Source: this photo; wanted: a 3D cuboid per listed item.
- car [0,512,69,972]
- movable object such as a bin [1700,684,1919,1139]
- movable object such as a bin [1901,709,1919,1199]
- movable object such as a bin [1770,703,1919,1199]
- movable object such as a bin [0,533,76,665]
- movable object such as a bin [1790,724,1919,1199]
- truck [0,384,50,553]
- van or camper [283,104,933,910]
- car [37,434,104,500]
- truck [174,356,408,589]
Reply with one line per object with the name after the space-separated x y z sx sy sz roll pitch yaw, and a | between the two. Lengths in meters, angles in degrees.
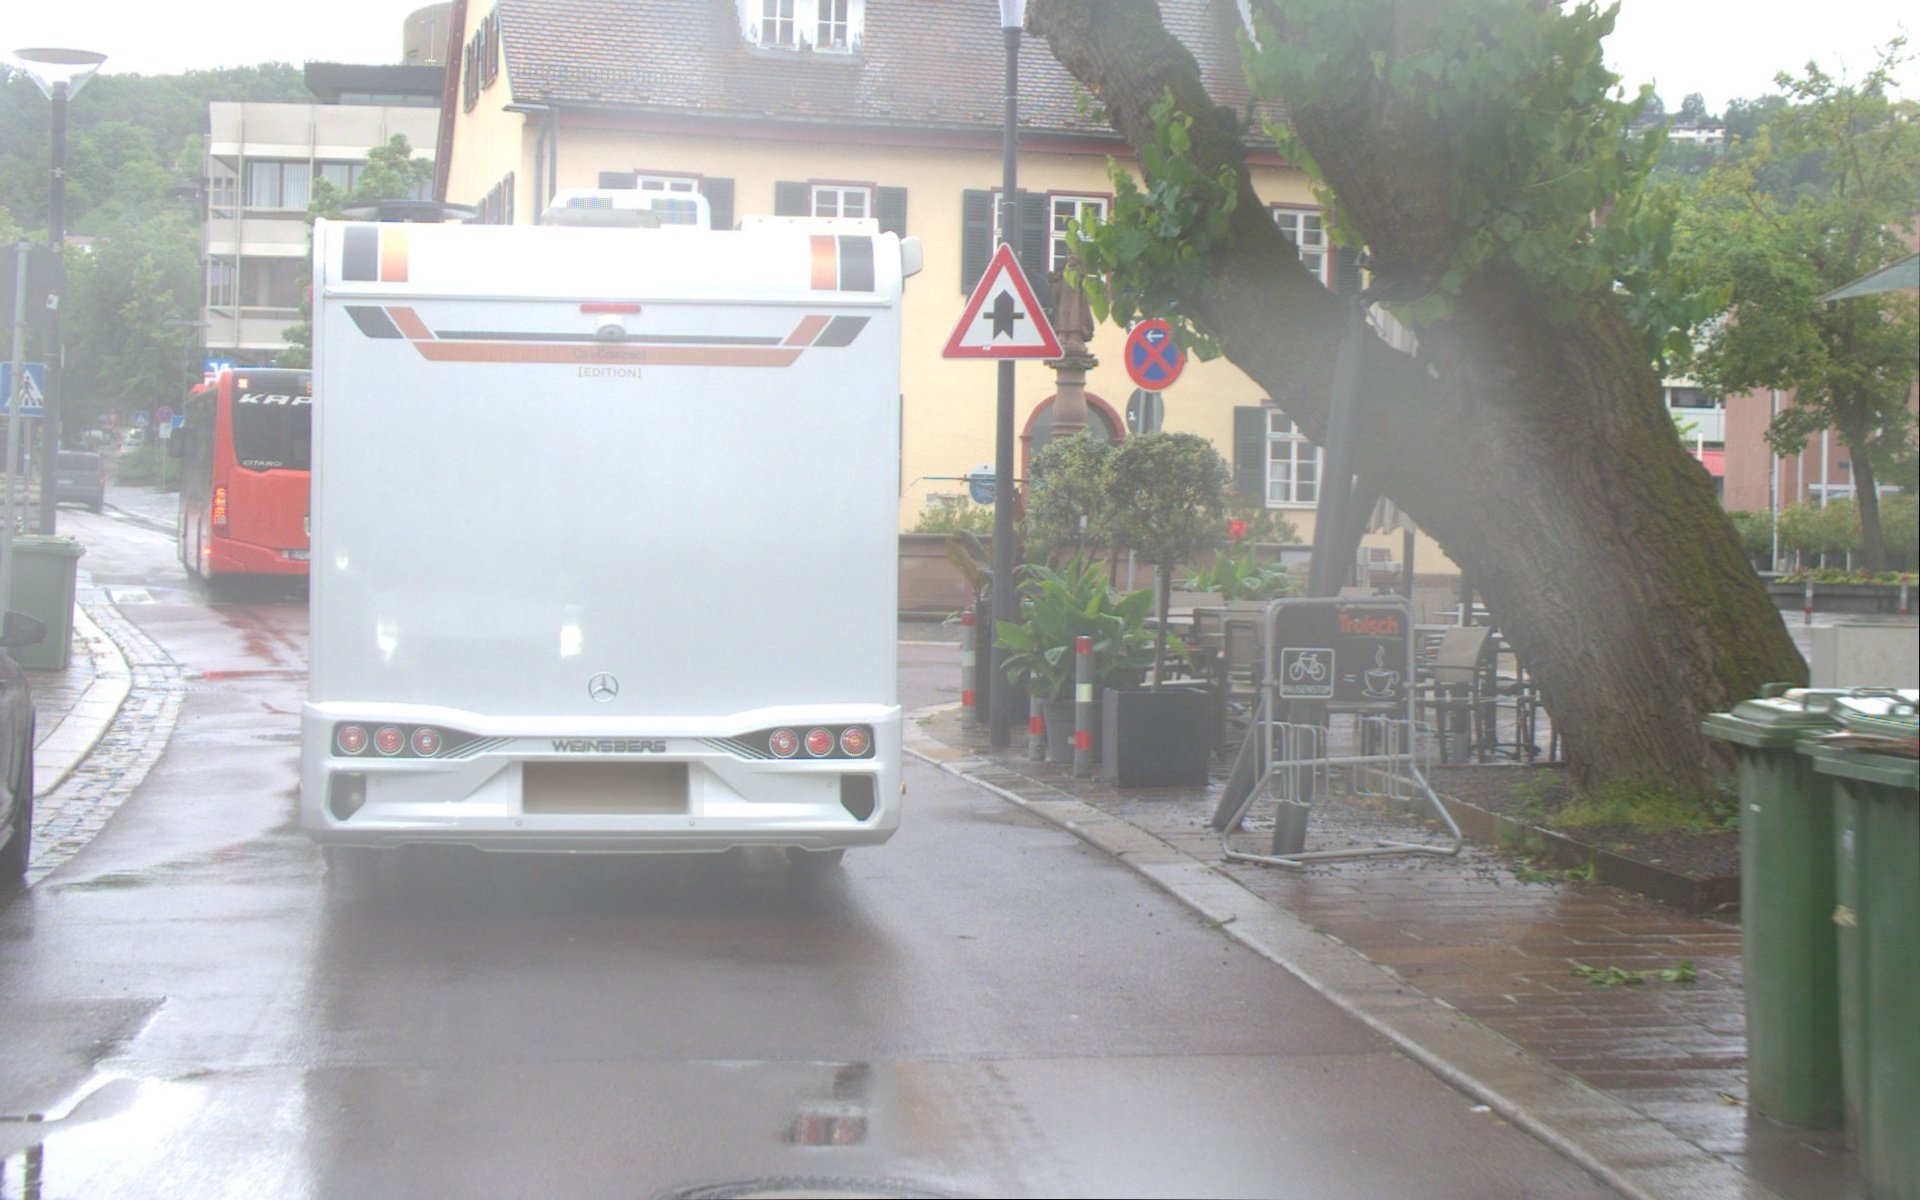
-4.435 0.401 12.666 1.993 1.489 4.001 2 1 -12 | car
2.288 0.762 8.593 0.728 1.076 0.577 1 0 -1 | movable object such as a bin
2.199 0.802 6.712 0.543 1.152 0.577 1 0 -1 | movable object such as a bin
2.325 0.803 7.988 0.729 1.098 0.561 1 0 -1 | movable object such as a bin
-7.622 -0.010 27.928 0.818 1.047 0.700 1 0 -13 | movable object such as a bin
2.189 0.827 7.301 0.692 1.098 0.561 1 0 -1 | movable object such as a bin
-17.013 -2.218 59.326 2.279 2.748 5.570 1 0 -17 | truck
-1.740 -0.334 15.760 2.325 2.909 6.394 1 0 -8 | van or camper
-29.204 -4.342 112.804 1.993 2.007 4.001 1 0 -16 | car
-9.276 -1.644 47.211 2.461 2.929 6.200 1 0 -17 | truck
